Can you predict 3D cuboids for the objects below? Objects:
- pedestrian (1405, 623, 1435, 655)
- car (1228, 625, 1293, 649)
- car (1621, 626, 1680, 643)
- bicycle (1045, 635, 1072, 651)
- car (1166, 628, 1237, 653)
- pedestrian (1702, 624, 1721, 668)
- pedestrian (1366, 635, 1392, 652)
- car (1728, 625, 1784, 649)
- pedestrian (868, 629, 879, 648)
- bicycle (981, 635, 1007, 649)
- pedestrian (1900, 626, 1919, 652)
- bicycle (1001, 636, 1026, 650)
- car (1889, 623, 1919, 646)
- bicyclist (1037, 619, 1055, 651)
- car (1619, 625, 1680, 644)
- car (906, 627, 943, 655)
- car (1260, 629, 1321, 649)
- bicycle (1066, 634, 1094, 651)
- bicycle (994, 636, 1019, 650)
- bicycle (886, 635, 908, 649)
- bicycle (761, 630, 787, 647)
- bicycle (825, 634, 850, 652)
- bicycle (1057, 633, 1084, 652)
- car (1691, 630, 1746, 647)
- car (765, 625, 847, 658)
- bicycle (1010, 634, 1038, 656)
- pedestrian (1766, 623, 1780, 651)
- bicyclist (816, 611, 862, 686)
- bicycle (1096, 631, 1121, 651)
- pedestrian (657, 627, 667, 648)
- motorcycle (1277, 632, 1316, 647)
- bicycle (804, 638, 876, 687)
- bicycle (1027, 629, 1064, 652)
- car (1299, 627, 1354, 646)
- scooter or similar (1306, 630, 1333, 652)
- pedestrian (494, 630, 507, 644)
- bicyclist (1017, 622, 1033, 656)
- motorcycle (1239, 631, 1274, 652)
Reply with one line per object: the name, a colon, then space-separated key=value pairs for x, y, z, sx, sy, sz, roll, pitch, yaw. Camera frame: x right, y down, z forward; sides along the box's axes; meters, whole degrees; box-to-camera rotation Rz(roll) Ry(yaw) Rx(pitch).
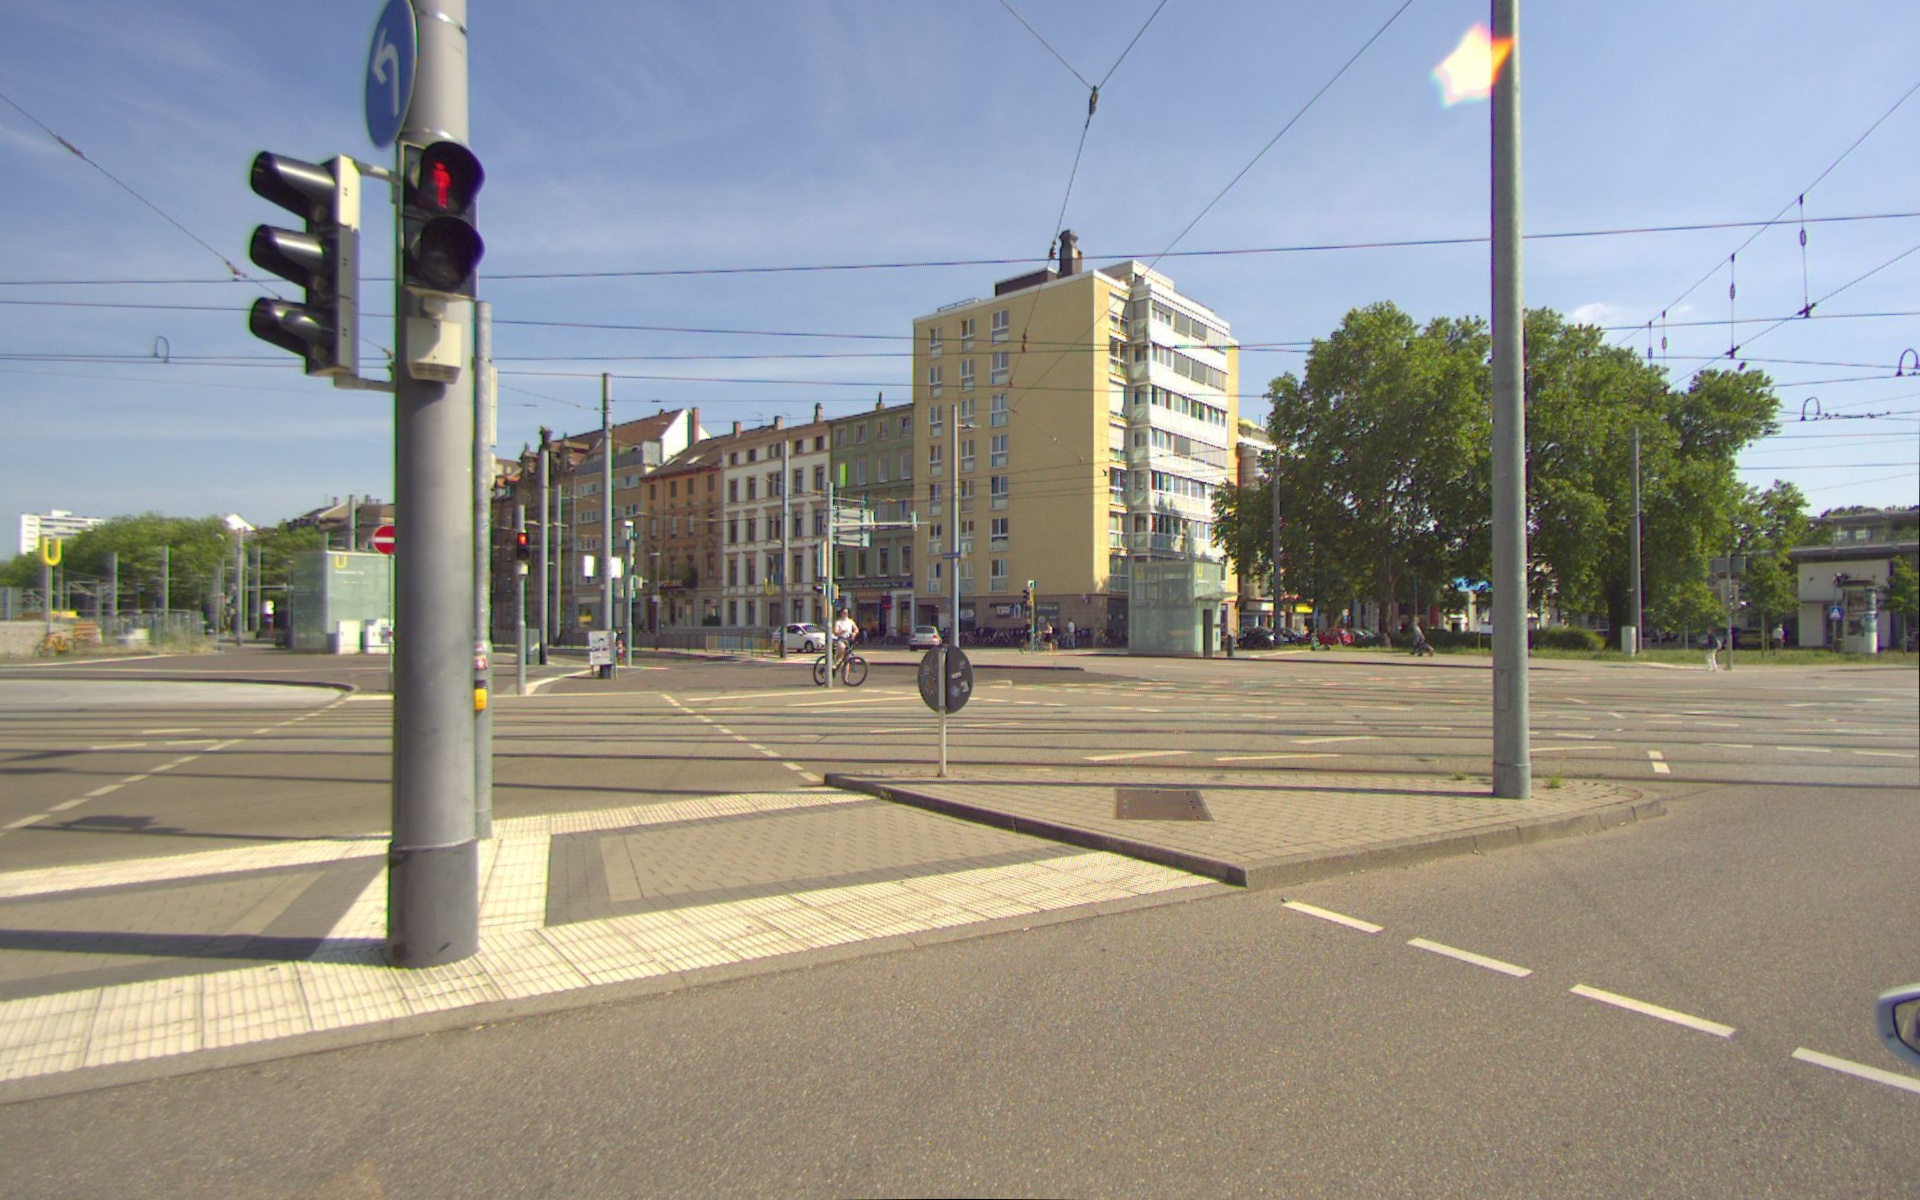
pedestrian: x=21.295 y=1.794 z=46.492 sx=1.099 sy=1.422 sz=0.654 roll=2 pitch=0 yaw=37
car: x=21.087 y=2.564 z=70.469 sx=3.942 sy=1.459 sz=1.881 roll=2 pitch=0 yaw=42
car: x=62.013 y=3.066 z=90.256 sx=1.979 sy=1.528 sz=3.964 roll=1 pitch=-2 yaw=-33
bicycle: x=6.134 y=2.667 z=62.611 sx=0.580 sy=0.978 sz=1.734 roll=0 pitch=-2 yaw=-43
car: x=15.011 y=2.511 z=62.550 sx=4.034 sy=1.489 sz=1.651 roll=-1 pitch=-5 yaw=42
pedestrian: x=28.261 y=1.710 z=37.765 sx=0.445 sy=1.626 sz=0.400 roll=2 pitch=0 yaw=22
pedestrian: x=23.366 y=2.415 z=55.981 sx=1.158 sy=0.904 sz=0.819 roll=-1 pitch=-2 yaw=39
car: x=61.992 y=2.867 z=78.213 sx=3.949 sy=1.706 sz=1.986 roll=2 pitch=0 yaw=-27
pedestrian: x=-6.375 y=2.859 z=74.116 sx=0.637 sy=1.392 sz=0.524 roll=-1 pitch=-2 yaw=41
bicycle: x=2.240 y=2.747 z=66.167 sx=1.732 sy=0.928 sz=0.581 roll=-2 pitch=-2 yaw=42
pedestrian: x=62.102 y=2.550 z=65.556 sx=0.529 sy=1.601 sz=0.947 roll=2 pitch=0 yaw=-35
bicycle: x=3.479 y=2.782 z=65.112 sx=0.579 sy=0.928 sz=1.736 roll=0 pitch=-2 yaw=-41
car: x=66.240 y=2.380 z=69.506 sx=3.958 sy=1.505 sz=1.982 roll=1 pitch=-2 yaw=-34
bicyclist: x=4.314 y=1.750 z=50.342 sx=0.606 sy=1.593 sz=0.727 roll=2 pitch=-3 yaw=-31
car: x=60.340 y=2.999 z=87.906 sx=1.979 sy=1.572 sz=3.964 roll=1 pitch=-2 yaw=-33
car: x=-2.013 y=2.385 z=58.047 sx=1.777 sy=1.458 sz=4.003 roll=1 pitch=-4 yaw=2
car: x=24.229 y=2.848 z=73.687 sx=3.942 sy=1.287 sz=1.734 roll=2 pitch=0 yaw=42
bicycle: x=7.364 y=2.594 z=61.512 sx=0.579 sy=1.056 sz=1.735 roll=0 pitch=-2 yaw=-42
bicycle: x=2.978 y=2.766 z=64.862 sx=0.579 sy=0.928 sz=1.736 roll=0 pitch=-2 yaw=-41
bicycle: x=-4.516 y=2.983 z=72.195 sx=1.754 sy=0.977 sz=0.412 roll=-2 pitch=0 yaw=41
bicycle: x=-12.369 y=2.543 z=66.850 sx=0.588 sy=1.109 sz=1.739 roll=0 pitch=-1 yaw=41
bicycle: x=-8.153 y=2.851 z=66.771 sx=1.794 sy=1.109 sz=0.581 roll=-2 pitch=0 yaw=42
bicycle: x=6.745 y=2.585 z=61.265 sx=0.578 sy=1.100 sz=1.739 roll=-3 pitch=0 yaw=-36
car: x=60.454 y=3.048 z=80.019 sx=3.949 sy=1.261 sz=1.986 roll=2 pitch=0 yaw=-27
car: x=-7.610 y=2.009 z=49.440 sx=4.064 sy=1.417 sz=1.750 roll=-1 pitch=2 yaw=41
bicycle: x=3.290 y=2.317 z=51.601 sx=0.574 sy=1.145 sz=1.791 roll=-1 pitch=-3 yaw=35
pedestrian: x=47.100 y=2.143 z=58.212 sx=0.455 sy=1.617 sz=0.393 roll=2 pitch=0 yaw=-8
bicyclist: x=-2.788 y=1.125 z=23.194 sx=0.746 sy=1.706 sz=0.767 roll=2 pitch=-4 yaw=-42
bicycle: x=9.202 y=2.533 z=62.137 sx=0.534 sy=1.201 sz=1.879 roll=-1 pitch=-1 yaw=43
pedestrian: x=-23.439 y=2.960 z=78.922 sx=0.518 sy=1.687 sz=0.552 roll=-1 pitch=-2 yaw=41
motorcycle: x=19.329 y=2.291 z=57.685 sx=1.997 sy=0.853 sz=0.641 roll=0 pitch=-1 yaw=2
bicycle: x=-2.791 y=1.440 z=23.202 sx=0.746 sy=1.098 sz=1.826 roll=2 pitch=-4 yaw=-42
bicycle: x=4.276 y=2.009 z=50.251 sx=1.776 sy=1.145 sz=0.748 roll=1 pitch=-1 yaw=-32
car: x=29.156 y=2.907 z=79.968 sx=3.681 sy=1.358 sz=1.734 roll=2 pitch=0 yaw=42
scooter or similar: x=18.318 y=2.083 z=51.218 sx=0.509 sy=1.134 sz=1.357 roll=0 pitch=-1 yaw=-21
pedestrian: x=-45.586 y=3.667 z=99.713 sx=0.810 sy=1.342 sz=0.946 roll=-1 pitch=-2 yaw=39
bicyclist: x=3.317 y=2.004 z=51.434 sx=0.574 sy=1.757 sz=0.616 roll=-1 pitch=-3 yaw=35
motorcycle: x=15.917 y=2.214 z=53.988 sx=0.631 sy=1.076 sz=2.027 roll=1 pitch=-1 yaw=-24
